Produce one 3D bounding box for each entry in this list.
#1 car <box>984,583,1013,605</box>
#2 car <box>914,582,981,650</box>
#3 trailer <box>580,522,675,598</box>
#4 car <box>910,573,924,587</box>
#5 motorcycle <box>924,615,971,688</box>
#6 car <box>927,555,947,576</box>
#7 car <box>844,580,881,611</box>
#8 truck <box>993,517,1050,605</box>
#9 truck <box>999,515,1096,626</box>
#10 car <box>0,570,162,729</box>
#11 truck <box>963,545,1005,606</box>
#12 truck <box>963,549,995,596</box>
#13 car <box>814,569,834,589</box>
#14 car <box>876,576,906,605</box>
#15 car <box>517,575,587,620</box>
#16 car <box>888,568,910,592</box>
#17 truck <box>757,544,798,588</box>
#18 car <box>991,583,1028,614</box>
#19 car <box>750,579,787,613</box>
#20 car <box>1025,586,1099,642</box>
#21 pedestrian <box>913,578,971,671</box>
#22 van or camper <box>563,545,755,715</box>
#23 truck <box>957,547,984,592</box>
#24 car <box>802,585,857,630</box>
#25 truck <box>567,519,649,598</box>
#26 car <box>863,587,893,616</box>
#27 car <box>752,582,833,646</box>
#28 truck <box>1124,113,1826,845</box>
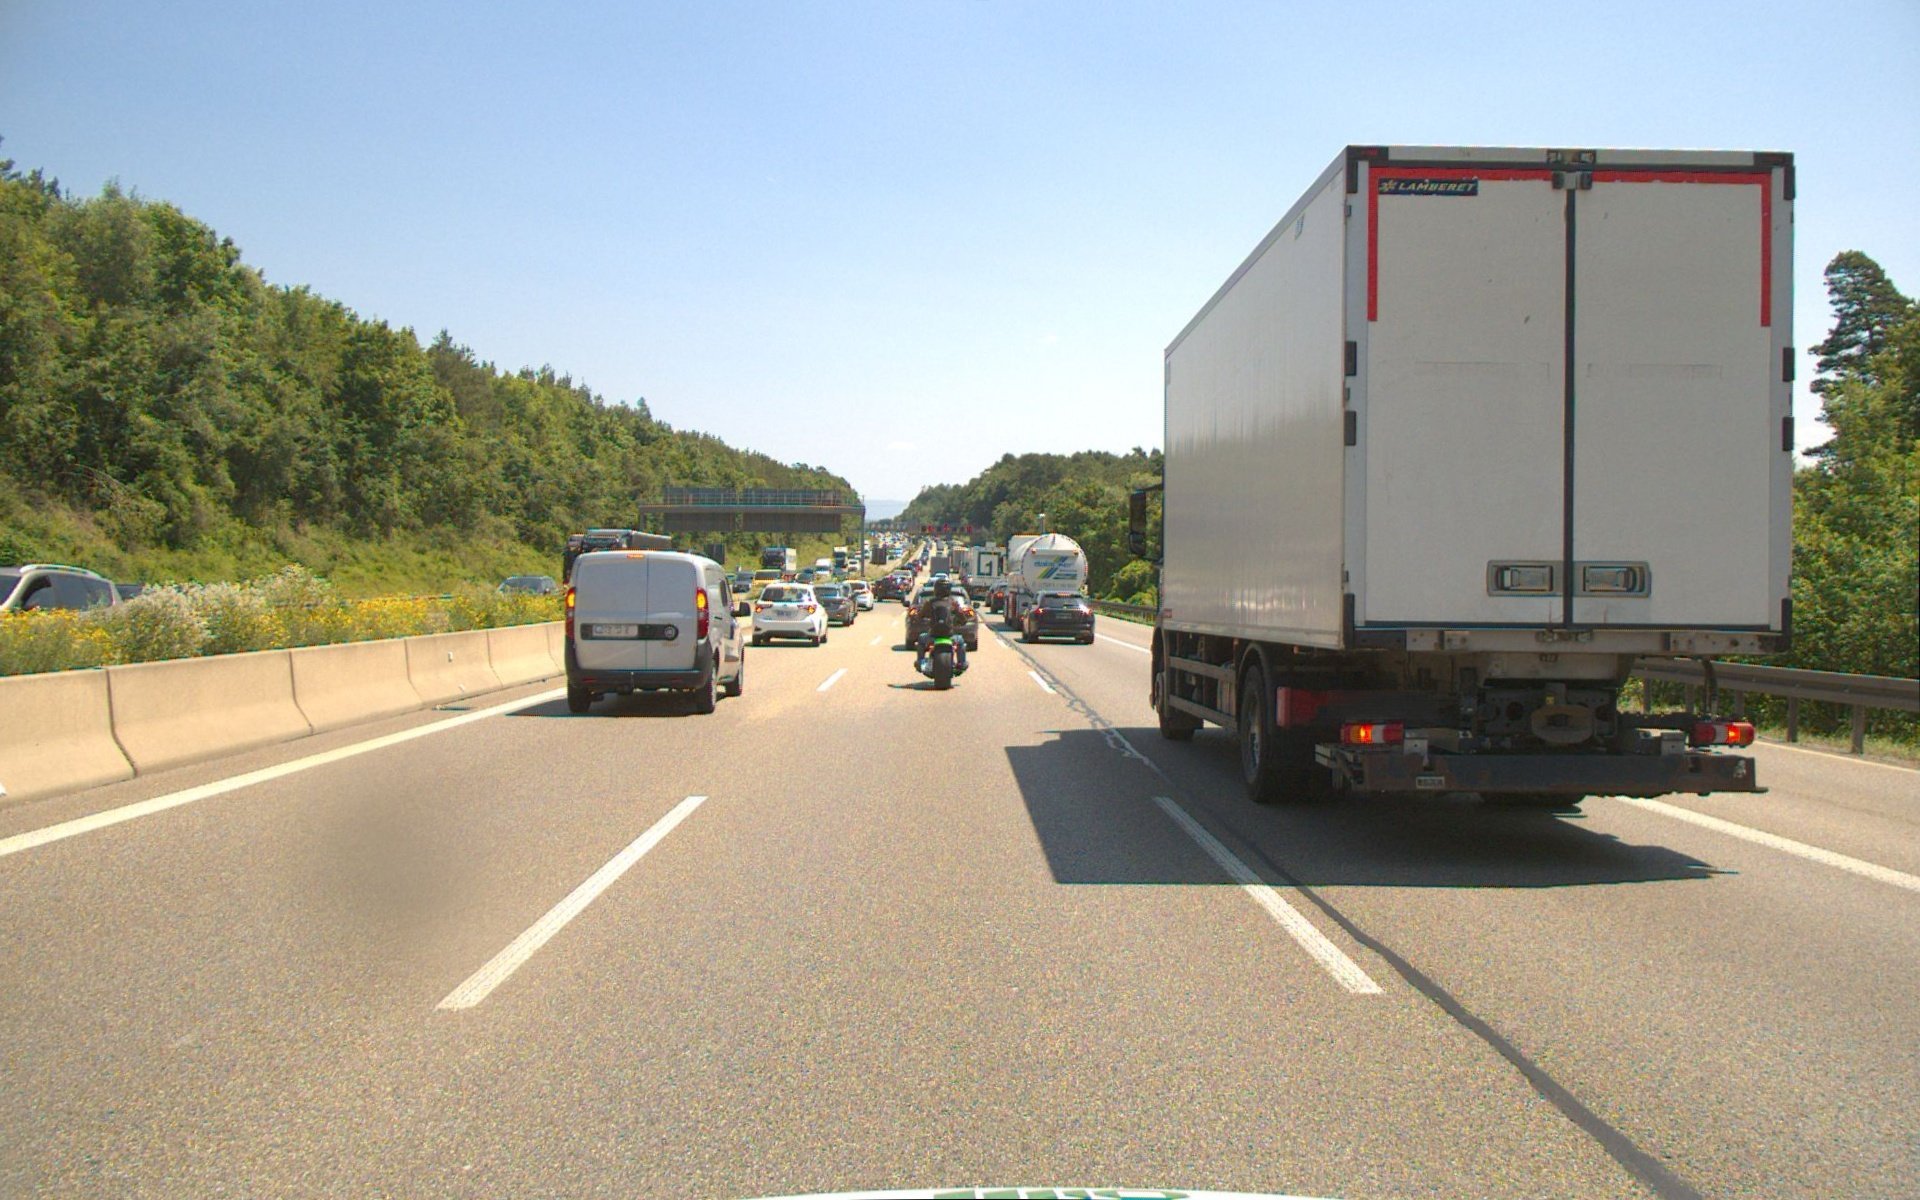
[{"bbox_3d":[2.483,-0.379,108.360,1.751,1.398,3.803,0,1,-1],"label":"car"},{"bbox_3d":[-0.327,0.353,40.249,1.502,1.536,3.999,-2,0,-1],"label":"car"},{"bbox_3d":[-19.422,-2.184,97.575,2.847,4.043,13.885,-2,0,-1],"label":"trailer"},{"bbox_3d":[-6.278,-2.917,241.236,1.953,2.049,4.000,1,1,-1],"label":"car"},{"bbox_3d":[-0.173,0.776,25.552,0.677,1.033,2.121,1,0,0],"label":"motorcycle"},{"bbox_3d":[-2.867,-4.238,204.636,2.453,2.632,5.016,0,1,-1],"label":"car"},{"bbox_3d":[-4.850,-0.244,82.870,1.665,1.504,4.000,0,1,-1],"label":"car"},{"bbox_3d":[2.590,-1.613,70.724,1.954,3.584,4.748,-2,0,-3],"label":"truck"},{"bbox_3d":[3.144,-1.018,61.974,2.927,3.735,9.286,-2,0,-1],"label":"truck"},{"bbox_3d":[-11.752,0.585,20.061,1.845,1.786,4.787,-2,0,-1],"label":"car"},{"bbox_3d":[1.842,-1.946,131.291,2.971,4.621,9.981,1,1,-1],"label":"truck"},{"bbox_3d":[1.880,-2.792,168.156,2.971,4.621,9.981,1,1,-1],"label":"truck"},{"bbox_3d":[-16.955,-2.611,206.157,1.953,2.418,7.364,0,1,-1],"label":"car"},{"bbox_3d":[-4.578,-0.650,109.963,1.841,1.892,4.000,1,1,0],"label":"car"},{"bbox_3d":[-14.511,-0.118,59.026,1.531,1.545,3.999,-1,1,-1],"label":"car"},{"bbox_3d":[-5.589,-1.797,151.771,1.890,2.049,4.000,-2,0,0],"label":"car"},{"bbox_3d":[-20.312,-3.703,184.408,3.649,4.607,7.325,-2,0,0],"label":"truck"},{"bbox_3d":[2.588,-0.104,86.921,1.751,1.583,3.803,0,1,-1],"label":"car"},{"bbox_3d":[-12.364,-0.261,106.936,1.841,2.049,4.468,-3,0,0],"label":"car"},{"bbox_3d":[2.872,0.359,47.354,1.791,1.496,4.000,1,1,-1],"label":"car"},{"bbox_3d":[-0.270,0.370,25.669,0.832,1.385,0.961,-2,0,0],"label":"pedestrian"},{"bbox_3d":[-3.697,0.346,20.995,1.760,1.925,4.158,1,0,-2],"label":"van or camper"},{"bbox_3d":[1.206,-3.650,197.917,2.971,5.229,9.981,1,1,-1],"label":"truck"},{"bbox_3d":[-4.560,0.227,58.295,1.665,1.504,4.000,0,1,-1],"label":"car"},{"bbox_3d":[-19.328,-2.180,91.287,2.847,4.043,7.767,-2,0,-1],"label":"truck"},{"bbox_3d":[-5.963,0.126,121.164,1.953,2.049,4.000,-2,0,0],"label":"car"},{"bbox_3d":[-4.139,0.310,41.317,1.665,1.504,4.000,0,1,-1],"label":"car"},{"bbox_3d":[3.349,-0.705,14.055,2.634,3.943,9.778,-2,0,-1],"label":"truck"}]
